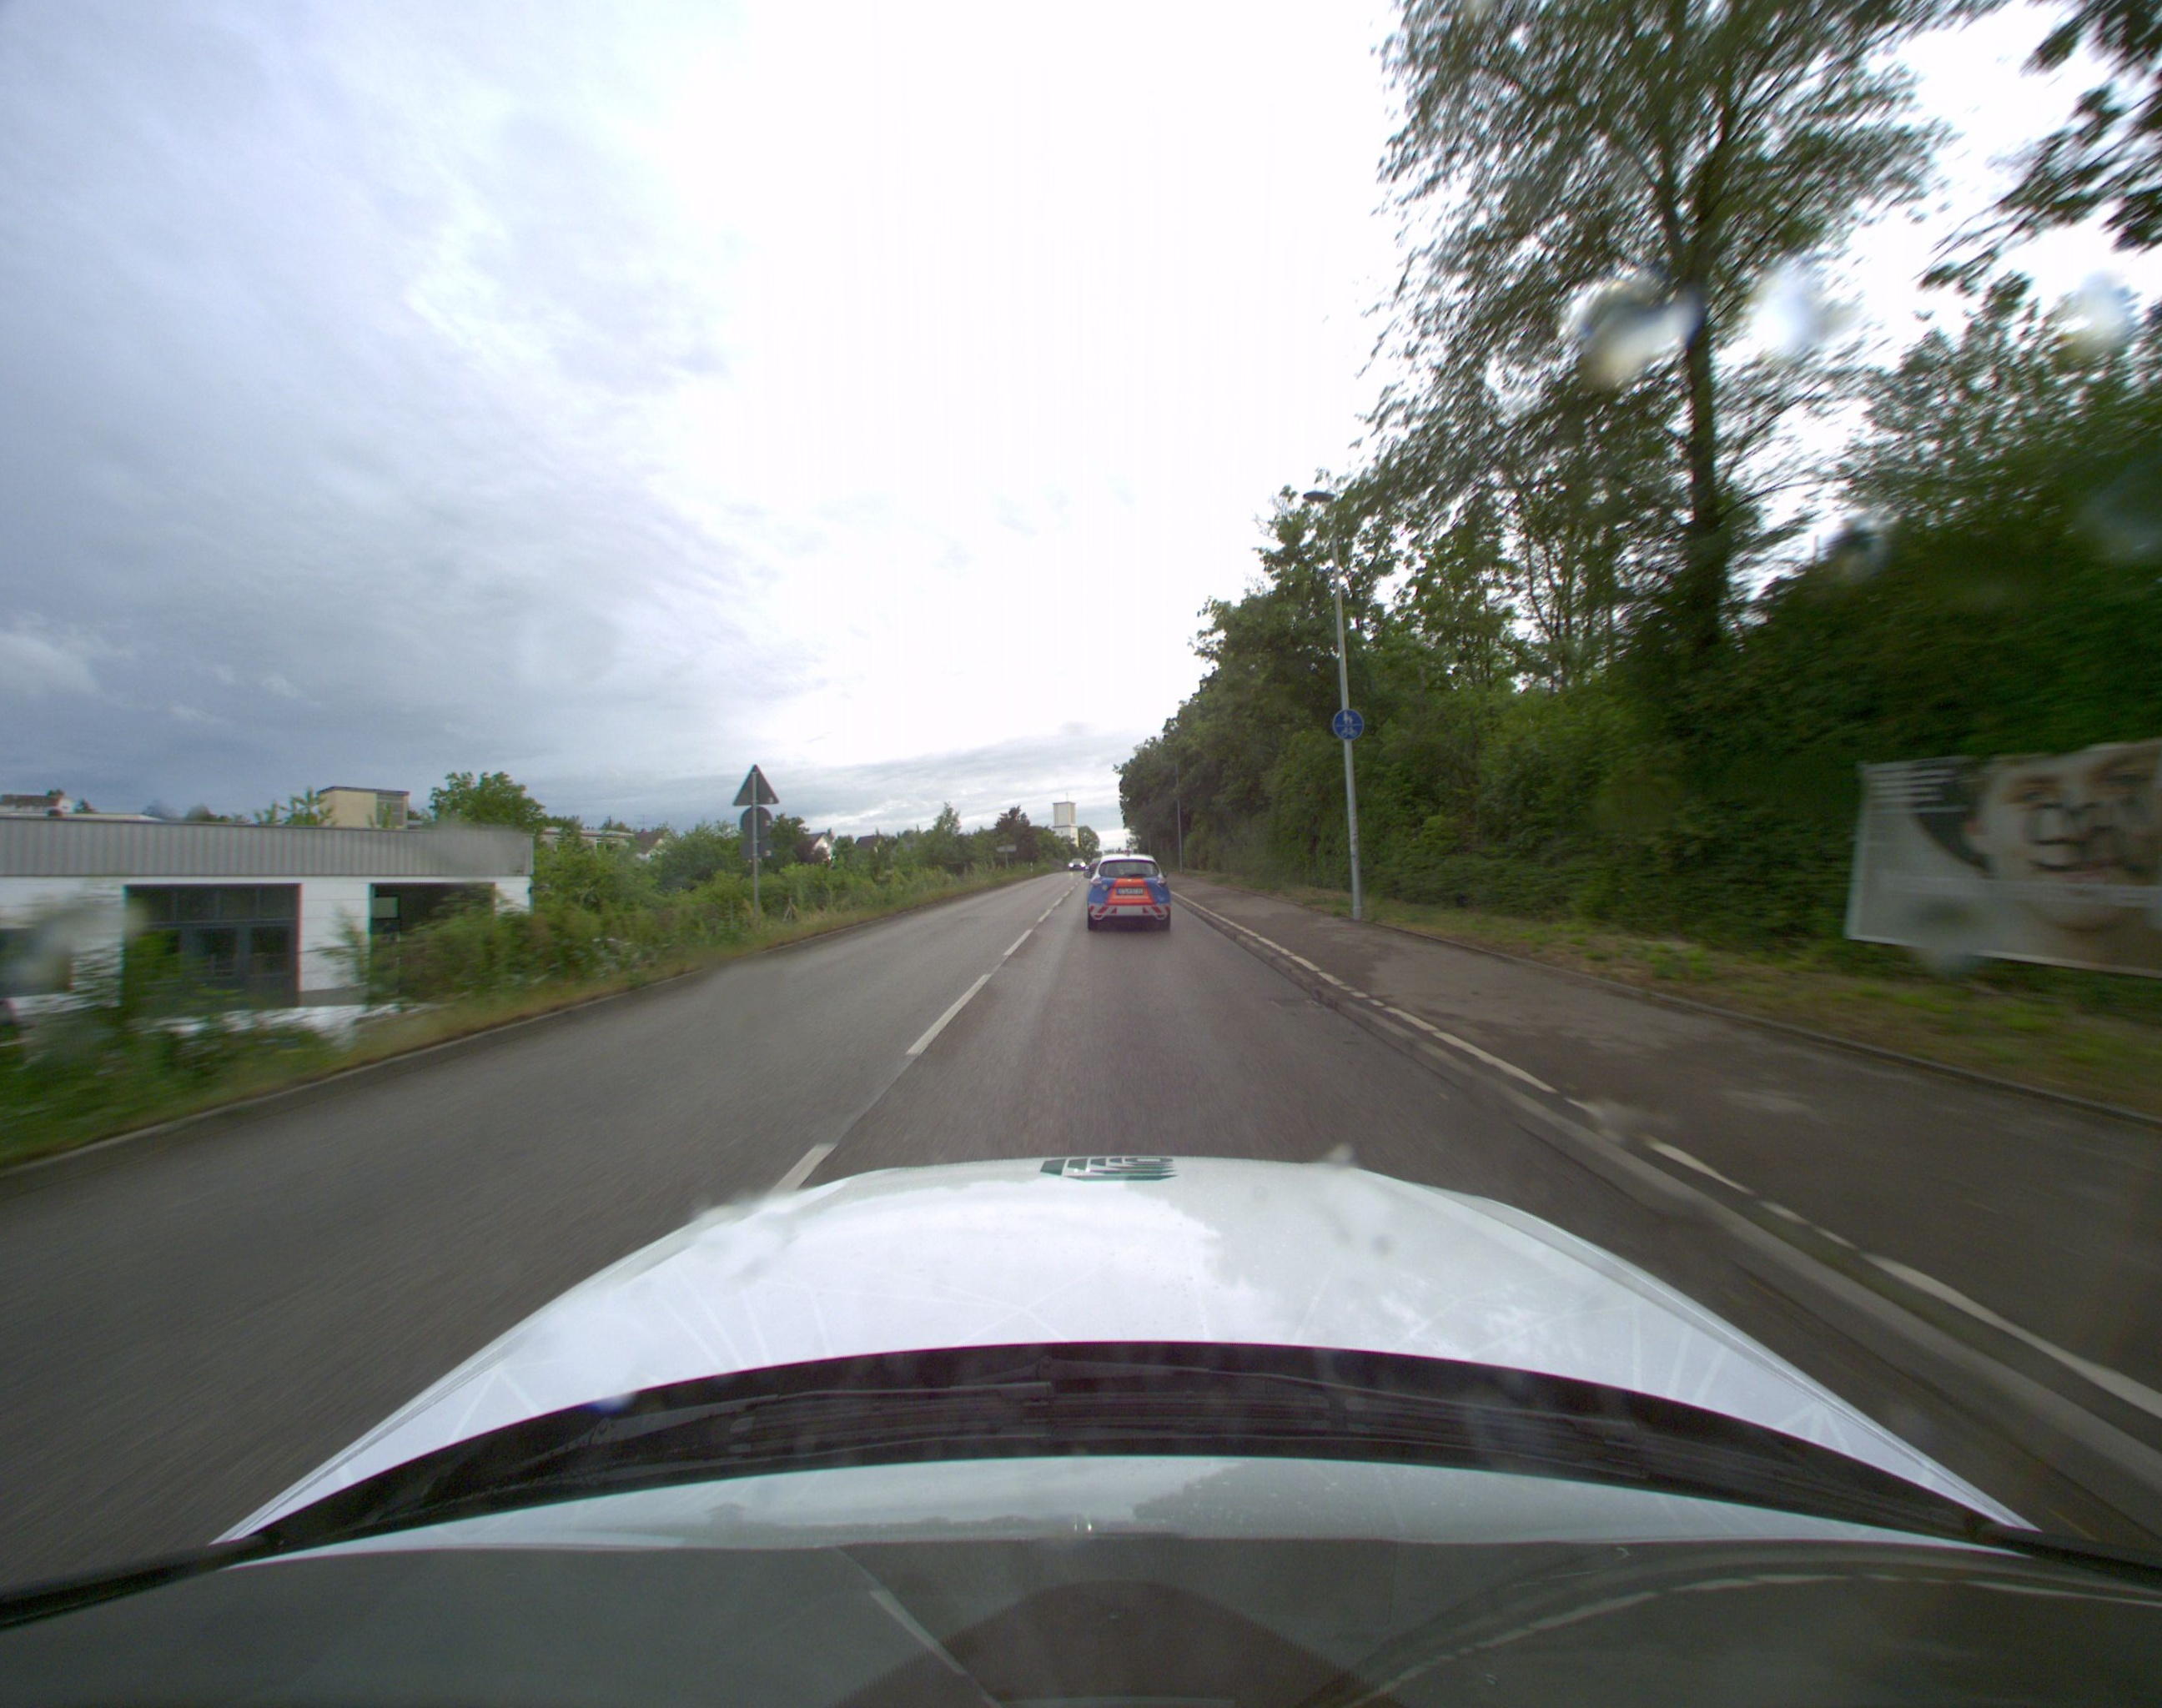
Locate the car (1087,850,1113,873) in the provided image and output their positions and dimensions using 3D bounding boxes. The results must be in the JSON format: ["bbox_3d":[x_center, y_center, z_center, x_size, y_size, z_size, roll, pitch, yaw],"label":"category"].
[{"bbox_3d":[1.458,0.602,63.239,1.797,1.590,3.562,-3,-1,0],"label":"car"}]

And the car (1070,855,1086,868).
[{"bbox_3d":[-0.359,0.927,106.596,1.861,1.585,4.418,-1,0,3],"label":"car"}]

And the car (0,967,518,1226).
[{"bbox_3d":[-9.328,2.584,9.030,4.615,1.803,1.866,-7,0,-3],"label":"car"}]

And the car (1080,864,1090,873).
[{"bbox_3d":[0.766,2.616,149.253,1.855,1.503,4.729,-2,-1,1],"label":"car"}]

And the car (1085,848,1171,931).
[{"bbox_3d":[0.977,0.743,17.839,1.651,1.593,3.569,-2,-1,1],"label":"car"}]
